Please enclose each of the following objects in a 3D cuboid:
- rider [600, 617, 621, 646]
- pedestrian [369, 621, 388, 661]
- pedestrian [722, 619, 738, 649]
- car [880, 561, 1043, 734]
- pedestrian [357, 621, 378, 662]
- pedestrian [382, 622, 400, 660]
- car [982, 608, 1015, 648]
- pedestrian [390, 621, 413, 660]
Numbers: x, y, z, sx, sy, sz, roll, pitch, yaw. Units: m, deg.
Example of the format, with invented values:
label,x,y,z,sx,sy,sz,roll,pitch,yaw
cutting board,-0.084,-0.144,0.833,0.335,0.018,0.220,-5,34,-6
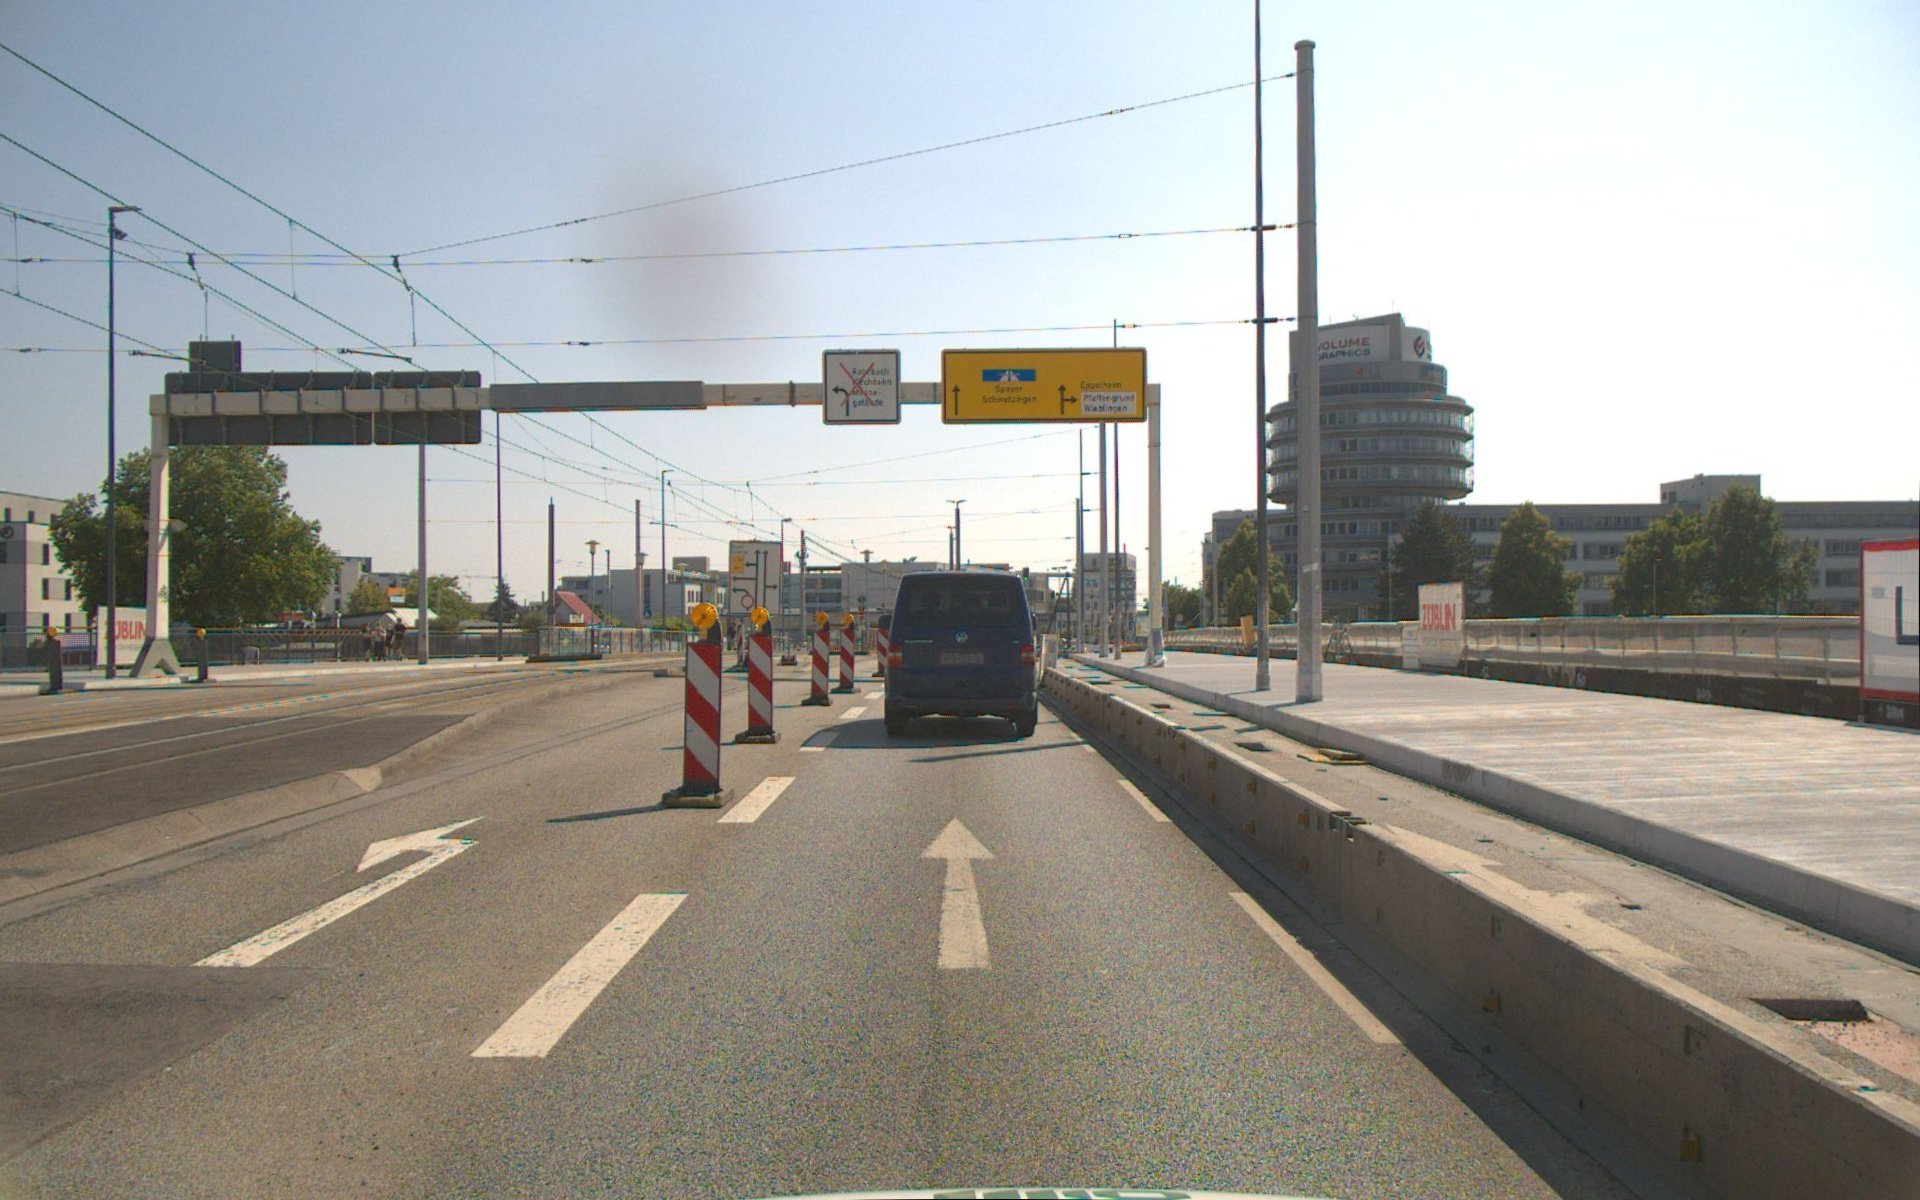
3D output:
label,x,y,z,sx,sy,sz,roll,pitch,yaw
rider,-21.958,1.981,103.977,0.748,1.763,2.950,0,-1,-1
pedestrian,-24.937,1.755,70.919,0.476,1.717,0.808,-1,-1,3
pedestrian,-12.804,1.888,91.999,0.646,1.683,0.740,-1,-1,13
car,-0.018,0.574,21.137,1.849,1.968,3.999,1,-1,-1
pedestrian,-25.523,1.775,71.214,0.585,1.717,0.818,-1,-1,3
pedestrian,-25.513,1.828,74.128,0.493,1.717,0.773,-1,-1,3
car,2.934,2.083,124.418,2.290,2.938,5.972,1,-1,2
pedestrian,-24.766,1.803,73.350,0.737,1.717,0.732,-1,-1,3
